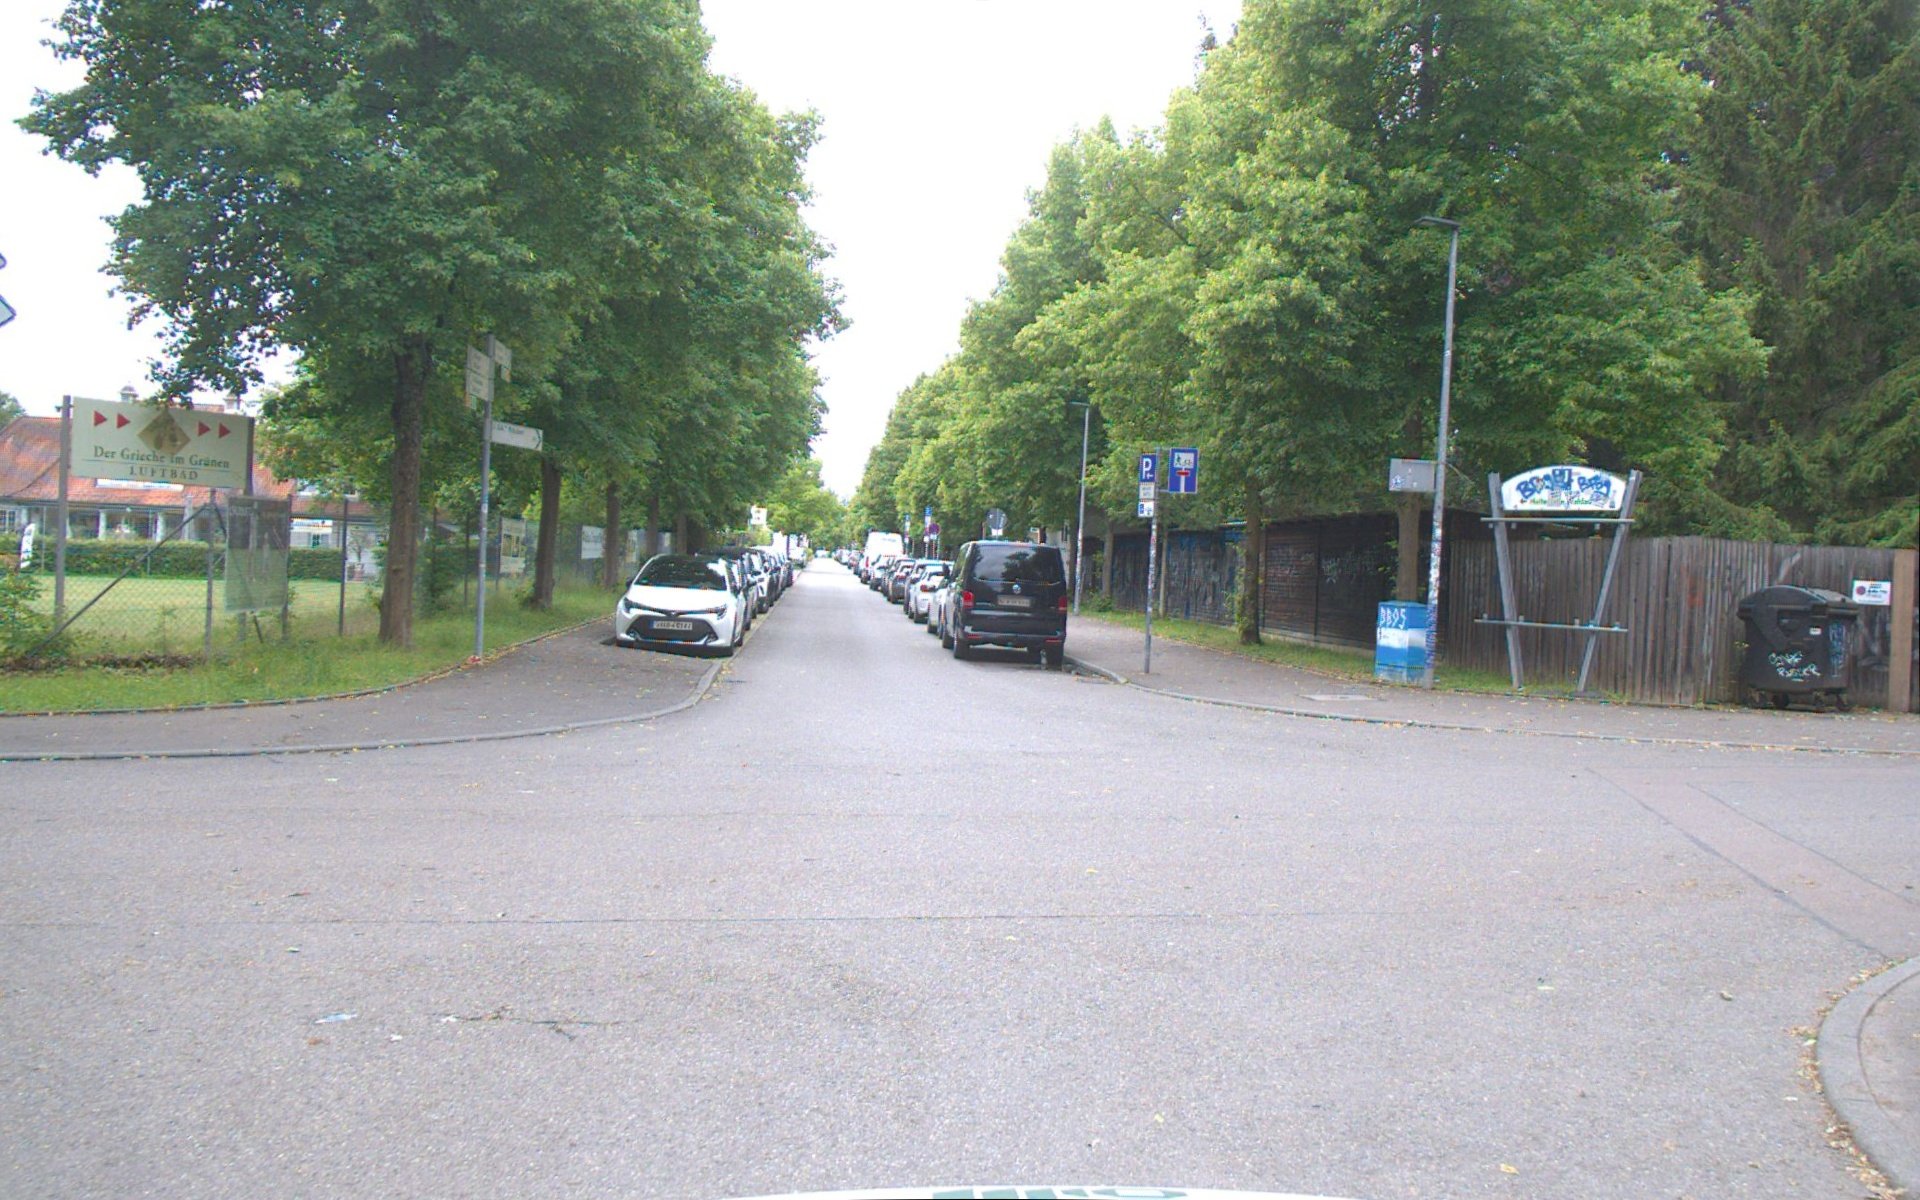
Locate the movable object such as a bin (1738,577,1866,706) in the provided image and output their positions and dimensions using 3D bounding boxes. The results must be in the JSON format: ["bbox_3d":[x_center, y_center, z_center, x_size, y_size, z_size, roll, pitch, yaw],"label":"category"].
[{"bbox_3d":[10.105,0.485,19.840,1.060,1.468,1.278,1,0,42],"label":"movable object such as a bin"}]

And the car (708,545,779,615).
[{"bbox_3d":[-5.592,-0.530,43.064,1.659,1.623,3.995,4,1,-6],"label":"car"}]

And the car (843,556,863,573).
[{"bbox_3d":[-11.615,-3.855,179.395,1.860,1.735,4.063,1,0,-1],"label":"car"}]

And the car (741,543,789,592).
[{"bbox_3d":[-6.944,-1.148,58.988,1.563,1.586,3.190,4,1,-6],"label":"car"}]

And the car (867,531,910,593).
[{"bbox_3d":[-3.750,-1.973,86.131,2.141,3.068,4.894,1,1,-3],"label":"car"}]

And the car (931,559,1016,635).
[{"bbox_3d":[0.241,-0.102,35.264,1.565,1.507,3.519,1,1,-3],"label":"car"}]

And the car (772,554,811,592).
[{"bbox_3d":[-7.096,-1.144,69.578,1.563,1.586,3.190,0,1,-6],"label":"car"}]

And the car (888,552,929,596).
[{"bbox_3d":[-1.964,-0.996,62.456,1.440,1.558,3.187,1,1,-3],"label":"car"}]

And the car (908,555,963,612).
[{"bbox_3d":[-0.738,-0.498,47.899,1.440,1.558,3.187,1,1,-3],"label":"car"}]

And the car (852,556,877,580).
[{"bbox_3d":[-8.432,-2.822,146.525,1.953,2.049,3.999,1,0,-1],"label":"car"}]

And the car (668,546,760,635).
[{"bbox_3d":[-4.580,-0.207,31.136,1.516,1.480,3.660,4,1,-7],"label":"car"}]

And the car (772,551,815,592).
[{"bbox_3d":[-6.433,-1.126,64.085,1.440,1.507,3.187,1,1,-3],"label":"car"}]

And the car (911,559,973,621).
[{"bbox_3d":[-0.490,-0.290,42.812,1.440,1.507,3.187,1,1,-3],"label":"car"}]

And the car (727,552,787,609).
[{"bbox_3d":[-5.828,-0.591,47.735,1.563,1.482,3.190,4,1,-6],"label":"car"}]

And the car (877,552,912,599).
[{"bbox_3d":[-2.892,-1.094,72.650,1.440,2.002,3.187,1,1,-3],"label":"car"}]

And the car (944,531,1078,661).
[{"bbox_3d":[0.804,-0.103,28.749,1.948,2.048,4.106,1,1,-3],"label":"car"}]

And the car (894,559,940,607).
[{"bbox_3d":[-1.484,-0.595,56.649,1.440,1.558,3.187,1,1,-3],"label":"car"}]

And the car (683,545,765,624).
[{"bbox_3d":[-5.421,-0.382,38.336,1.659,1.623,3.995,4,1,-6],"label":"car"}]

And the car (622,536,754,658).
[{"bbox_3d":[-4.155,-0.091,25.795,1.731,1.623,4.210,4,1,-7],"label":"car"}]
